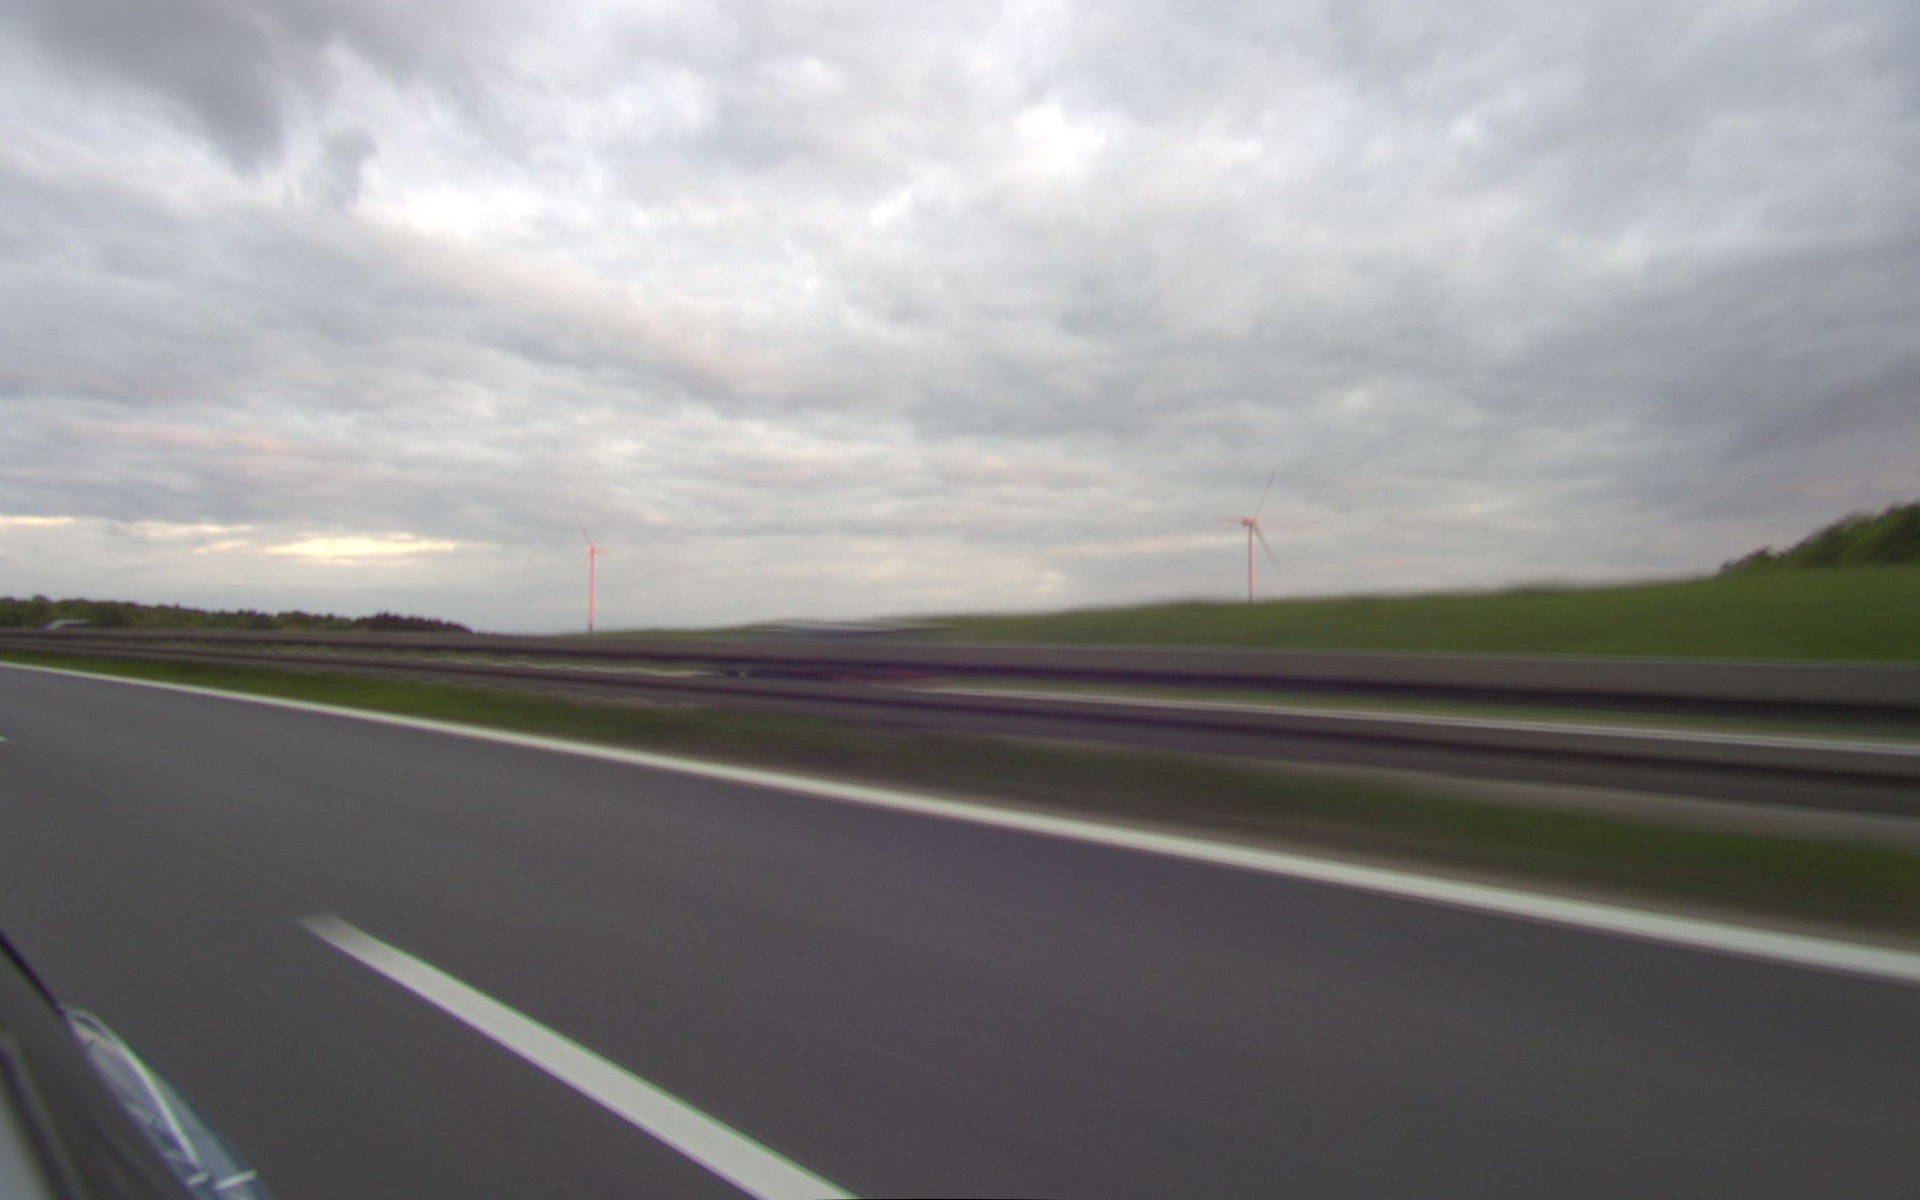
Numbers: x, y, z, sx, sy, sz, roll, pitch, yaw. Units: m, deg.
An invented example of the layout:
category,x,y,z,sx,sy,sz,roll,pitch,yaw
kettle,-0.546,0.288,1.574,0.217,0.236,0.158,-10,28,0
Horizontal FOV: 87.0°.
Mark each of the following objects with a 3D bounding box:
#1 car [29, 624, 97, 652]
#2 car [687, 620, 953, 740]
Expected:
category,x,y,z,sx,sy,sz,roll,pitch,yaw
car,-55.474,2.347,62.583,4.657,1.672,2.008,-1,-2,34
car,-2.455,1.227,16.977,4.633,1.728,1.757,-1,-1,40
